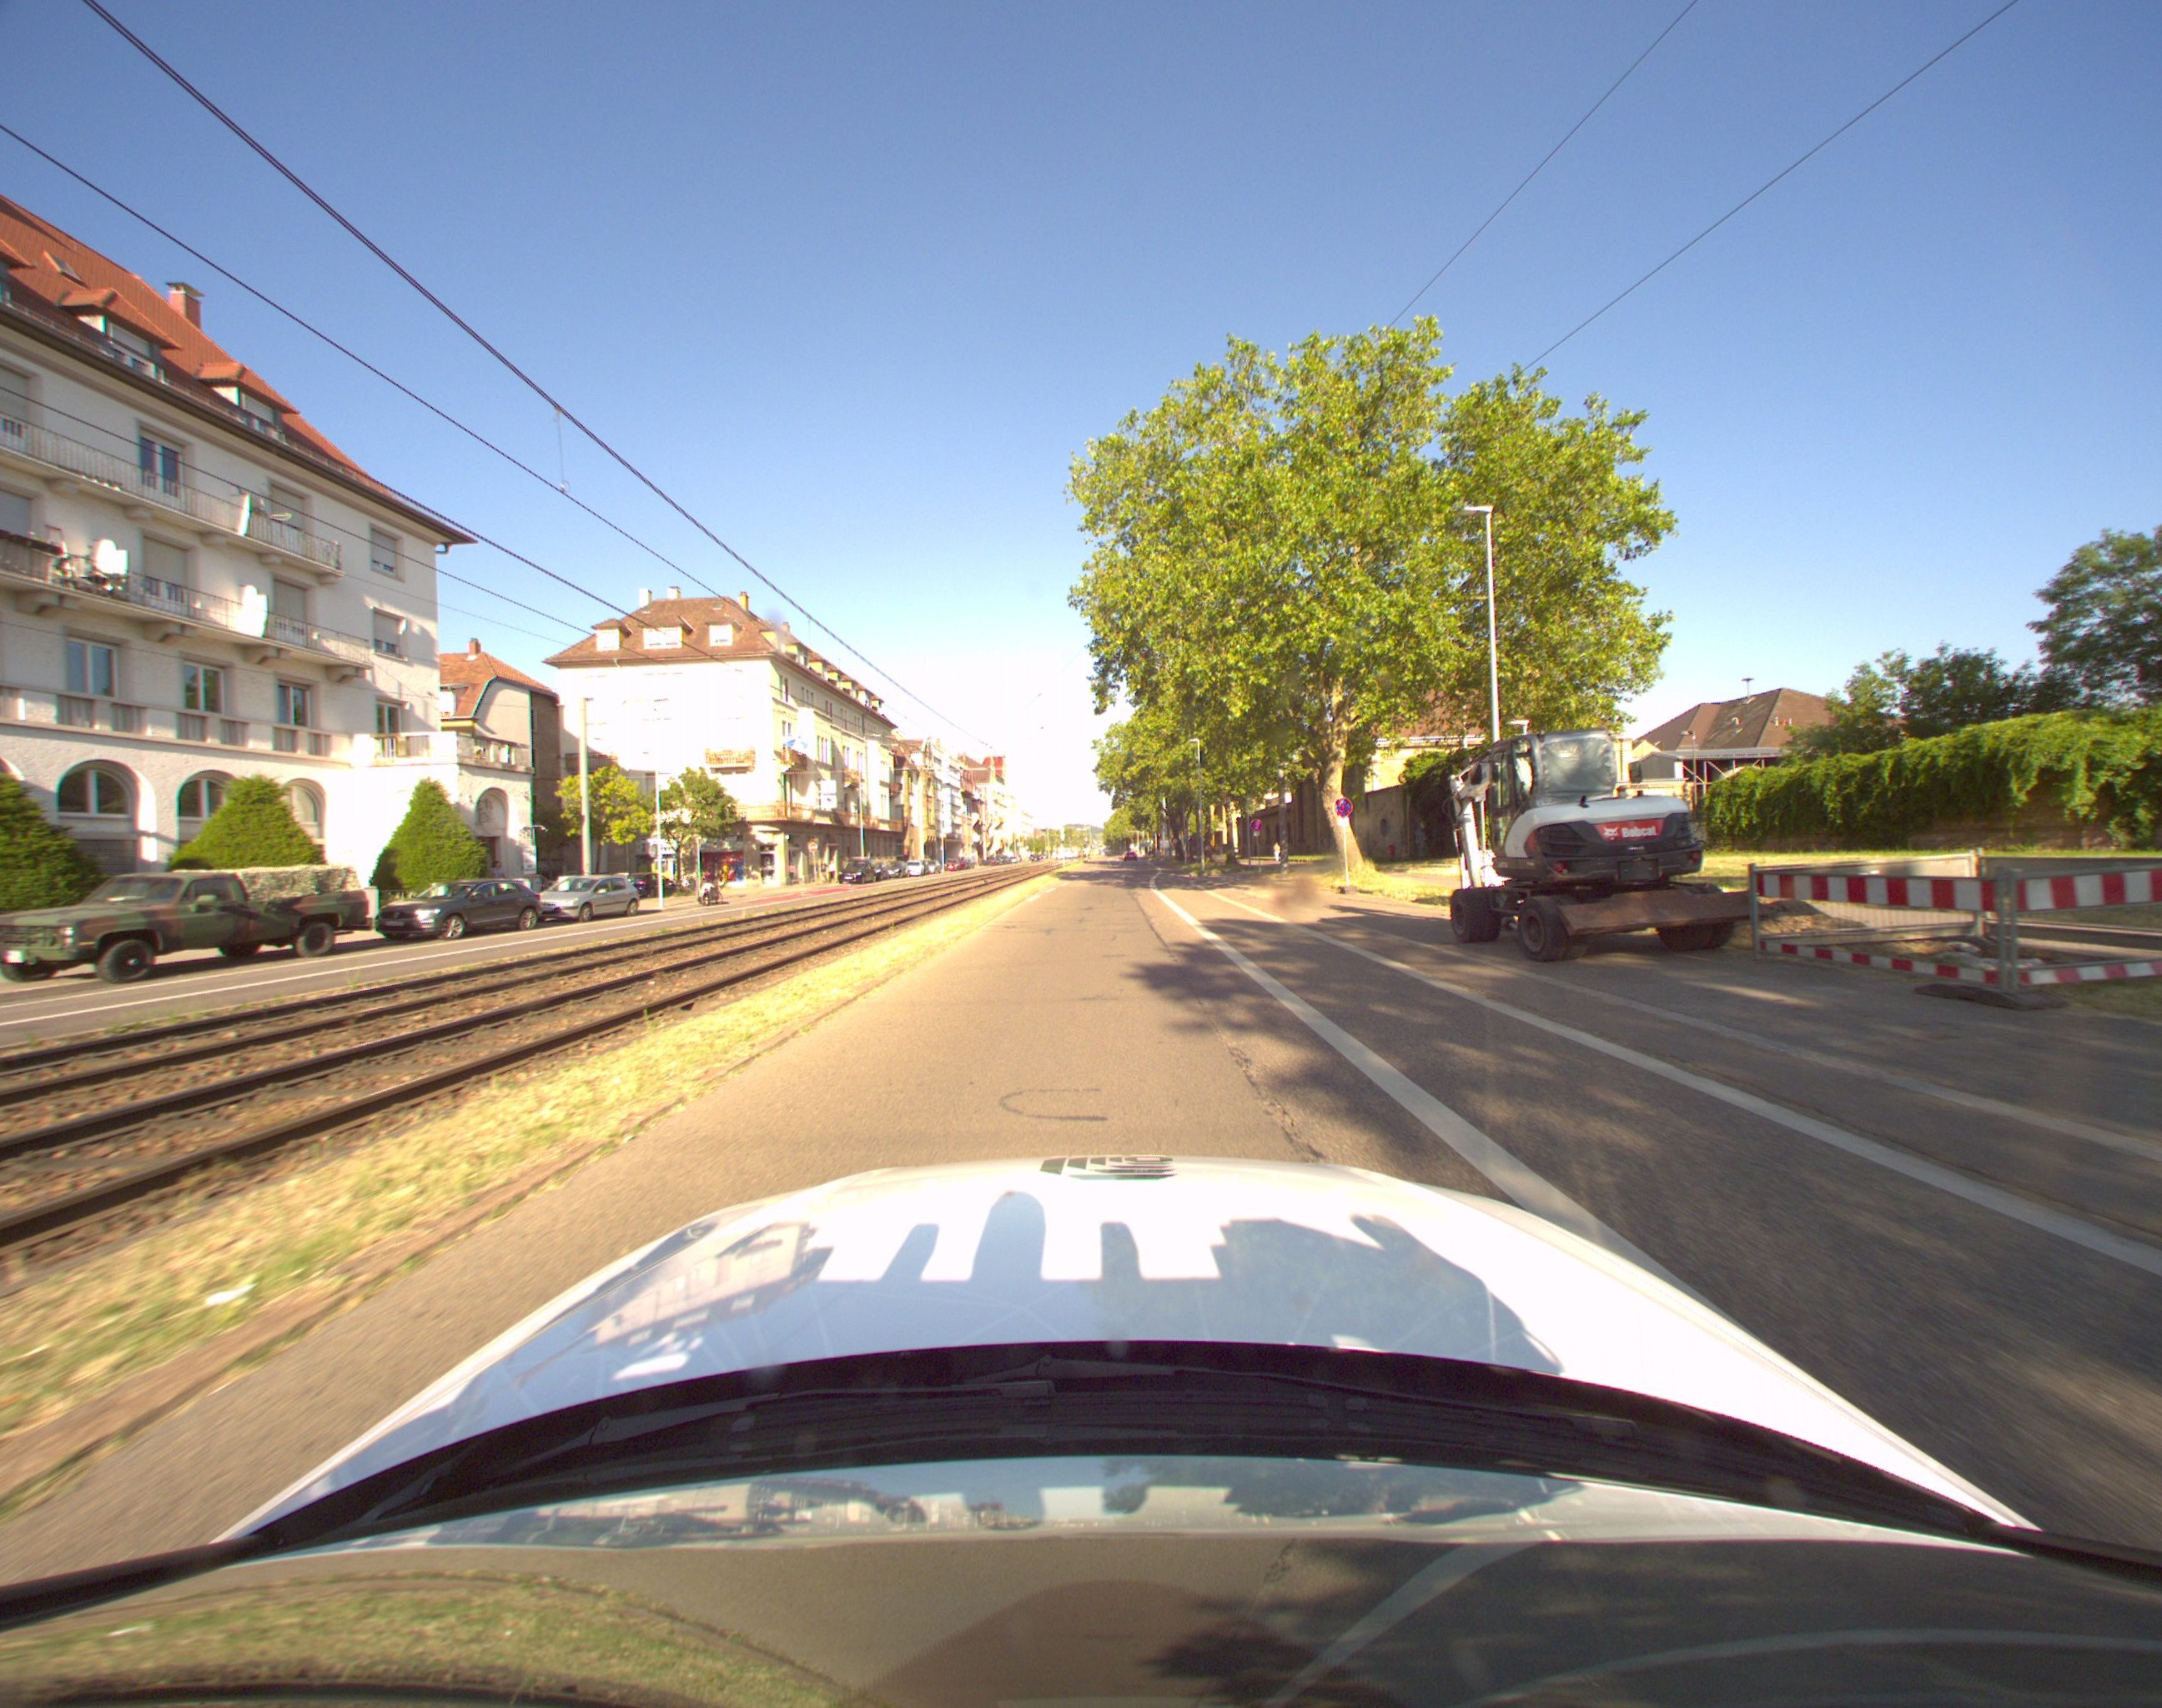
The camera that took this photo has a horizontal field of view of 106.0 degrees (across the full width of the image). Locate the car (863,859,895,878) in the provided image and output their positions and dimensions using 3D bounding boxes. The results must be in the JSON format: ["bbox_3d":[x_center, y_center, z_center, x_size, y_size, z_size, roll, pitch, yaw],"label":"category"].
[{"bbox_3d":[-16.199,1.158,65.379,1.622,1.391,3.508,1,0,0],"label":"car"}]

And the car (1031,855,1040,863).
[{"bbox_3d":[-10.203,1.115,182.306,1.630,1.601,4.158,-3,0,0],"label":"car"}]

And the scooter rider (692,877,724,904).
[{"bbox_3d":[-16.115,1.562,35.173,0.966,1.089,0.813,-3,0,32],"label":"scooter rider"}]

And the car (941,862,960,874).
[{"bbox_3d":[-15.597,1.693,97.647,1.829,1.391,4.031,1,0,-3],"label":"car"}]

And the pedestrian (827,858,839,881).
[{"bbox_3d":[-18.578,1.187,61.090,0.586,1.697,0.858,0,-1,3],"label":"pedestrian"}]

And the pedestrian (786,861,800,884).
[{"bbox_3d":[-20.840,1.305,58.893,0.637,1.661,0.955,0,-1,3],"label":"pedestrian"}]

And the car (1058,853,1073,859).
[{"bbox_3d":[-4.085,0.605,211.974,3.950,1.510,1.811,-1,-1,44],"label":"car"}]

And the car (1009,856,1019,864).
[{"bbox_3d":[-13.578,1.144,164.396,1.790,1.510,3.996,1,0,-3],"label":"car"}]

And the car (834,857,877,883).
[{"bbox_3d":[-16.427,1.123,59.482,1.856,1.786,4.402,0,1,1],"label":"car"}]

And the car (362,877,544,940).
[{"bbox_3d":[-17.164,1.420,22.565,1.628,1.507,4.163,0,-1,3],"label":"car"}]

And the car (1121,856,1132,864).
[{"bbox_3d":[8.690,1.103,155.865,1.827,1.391,4.160,-2,0,1],"label":"car"}]

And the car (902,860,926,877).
[{"bbox_3d":[-15.597,1.352,76.217,1.631,1.469,3.978,-1,-1,-3],"label":"car"}]

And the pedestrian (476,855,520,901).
[{"bbox_3d":[-22.743,0.917,31.793,0.988,1.778,0.935,0,-1,0],"label":"pedestrian"}]

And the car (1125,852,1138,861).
[{"bbox_3d":[7.467,0.363,120.559,1.827,1.391,4.160,-2,0,1],"label":"car"}]

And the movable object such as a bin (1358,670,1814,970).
[{"bbox_3d":[6.947,-0.408,12.840,2.733,3.145,7.224,-5,0,3],"label":"movable object such as a bin"}]

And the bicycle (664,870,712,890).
[{"bbox_3d":[-25.930,1.702,53.747,2.865,1.161,0.754,-2,0,8],"label":"bicycle"}]

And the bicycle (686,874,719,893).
[{"bbox_3d":[-22.590,1.764,48.699,0.681,1.016,2.415,0,0,4],"label":"bicycle"}]

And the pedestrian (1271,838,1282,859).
[{"bbox_3d":[16.123,-0.465,67.115,0.606,1.681,0.636,-6,0,-1],"label":"pedestrian"}]

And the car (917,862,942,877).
[{"bbox_3d":[-15.825,1.576,85.190,1.629,1.469,4.161,-1,1,2],"label":"car"}]

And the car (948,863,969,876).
[{"bbox_3d":[-15.436,1.901,103.016,1.826,1.558,4.356,-1,0,2],"label":"car"}]

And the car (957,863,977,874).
[{"bbox_3d":[-15.149,1.921,108.485,1.827,1.391,4.683,-2,0,1],"label":"car"}]

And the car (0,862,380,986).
[{"bbox_3d":[-17.793,1.215,16.533,2.068,2.010,5.597,0,0,3],"label":"car"}]

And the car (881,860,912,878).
[{"bbox_3d":[-16.061,1.293,71.084,1.629,1.469,4.160,1,0,1],"label":"car"}]

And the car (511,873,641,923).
[{"bbox_3d":[-17.175,1.449,27.942,1.787,1.510,4.003,0,0,3],"label":"car"}]

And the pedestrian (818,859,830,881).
[{"bbox_3d":[-19.300,1.191,61.120,0.586,1.697,0.858,0,-1,3],"label":"pedestrian"}]

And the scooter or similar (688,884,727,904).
[{"bbox_3d":[-16.143,1.743,35.192,1.549,0.770,0.813,-3,0,32],"label":"scooter or similar"}]
